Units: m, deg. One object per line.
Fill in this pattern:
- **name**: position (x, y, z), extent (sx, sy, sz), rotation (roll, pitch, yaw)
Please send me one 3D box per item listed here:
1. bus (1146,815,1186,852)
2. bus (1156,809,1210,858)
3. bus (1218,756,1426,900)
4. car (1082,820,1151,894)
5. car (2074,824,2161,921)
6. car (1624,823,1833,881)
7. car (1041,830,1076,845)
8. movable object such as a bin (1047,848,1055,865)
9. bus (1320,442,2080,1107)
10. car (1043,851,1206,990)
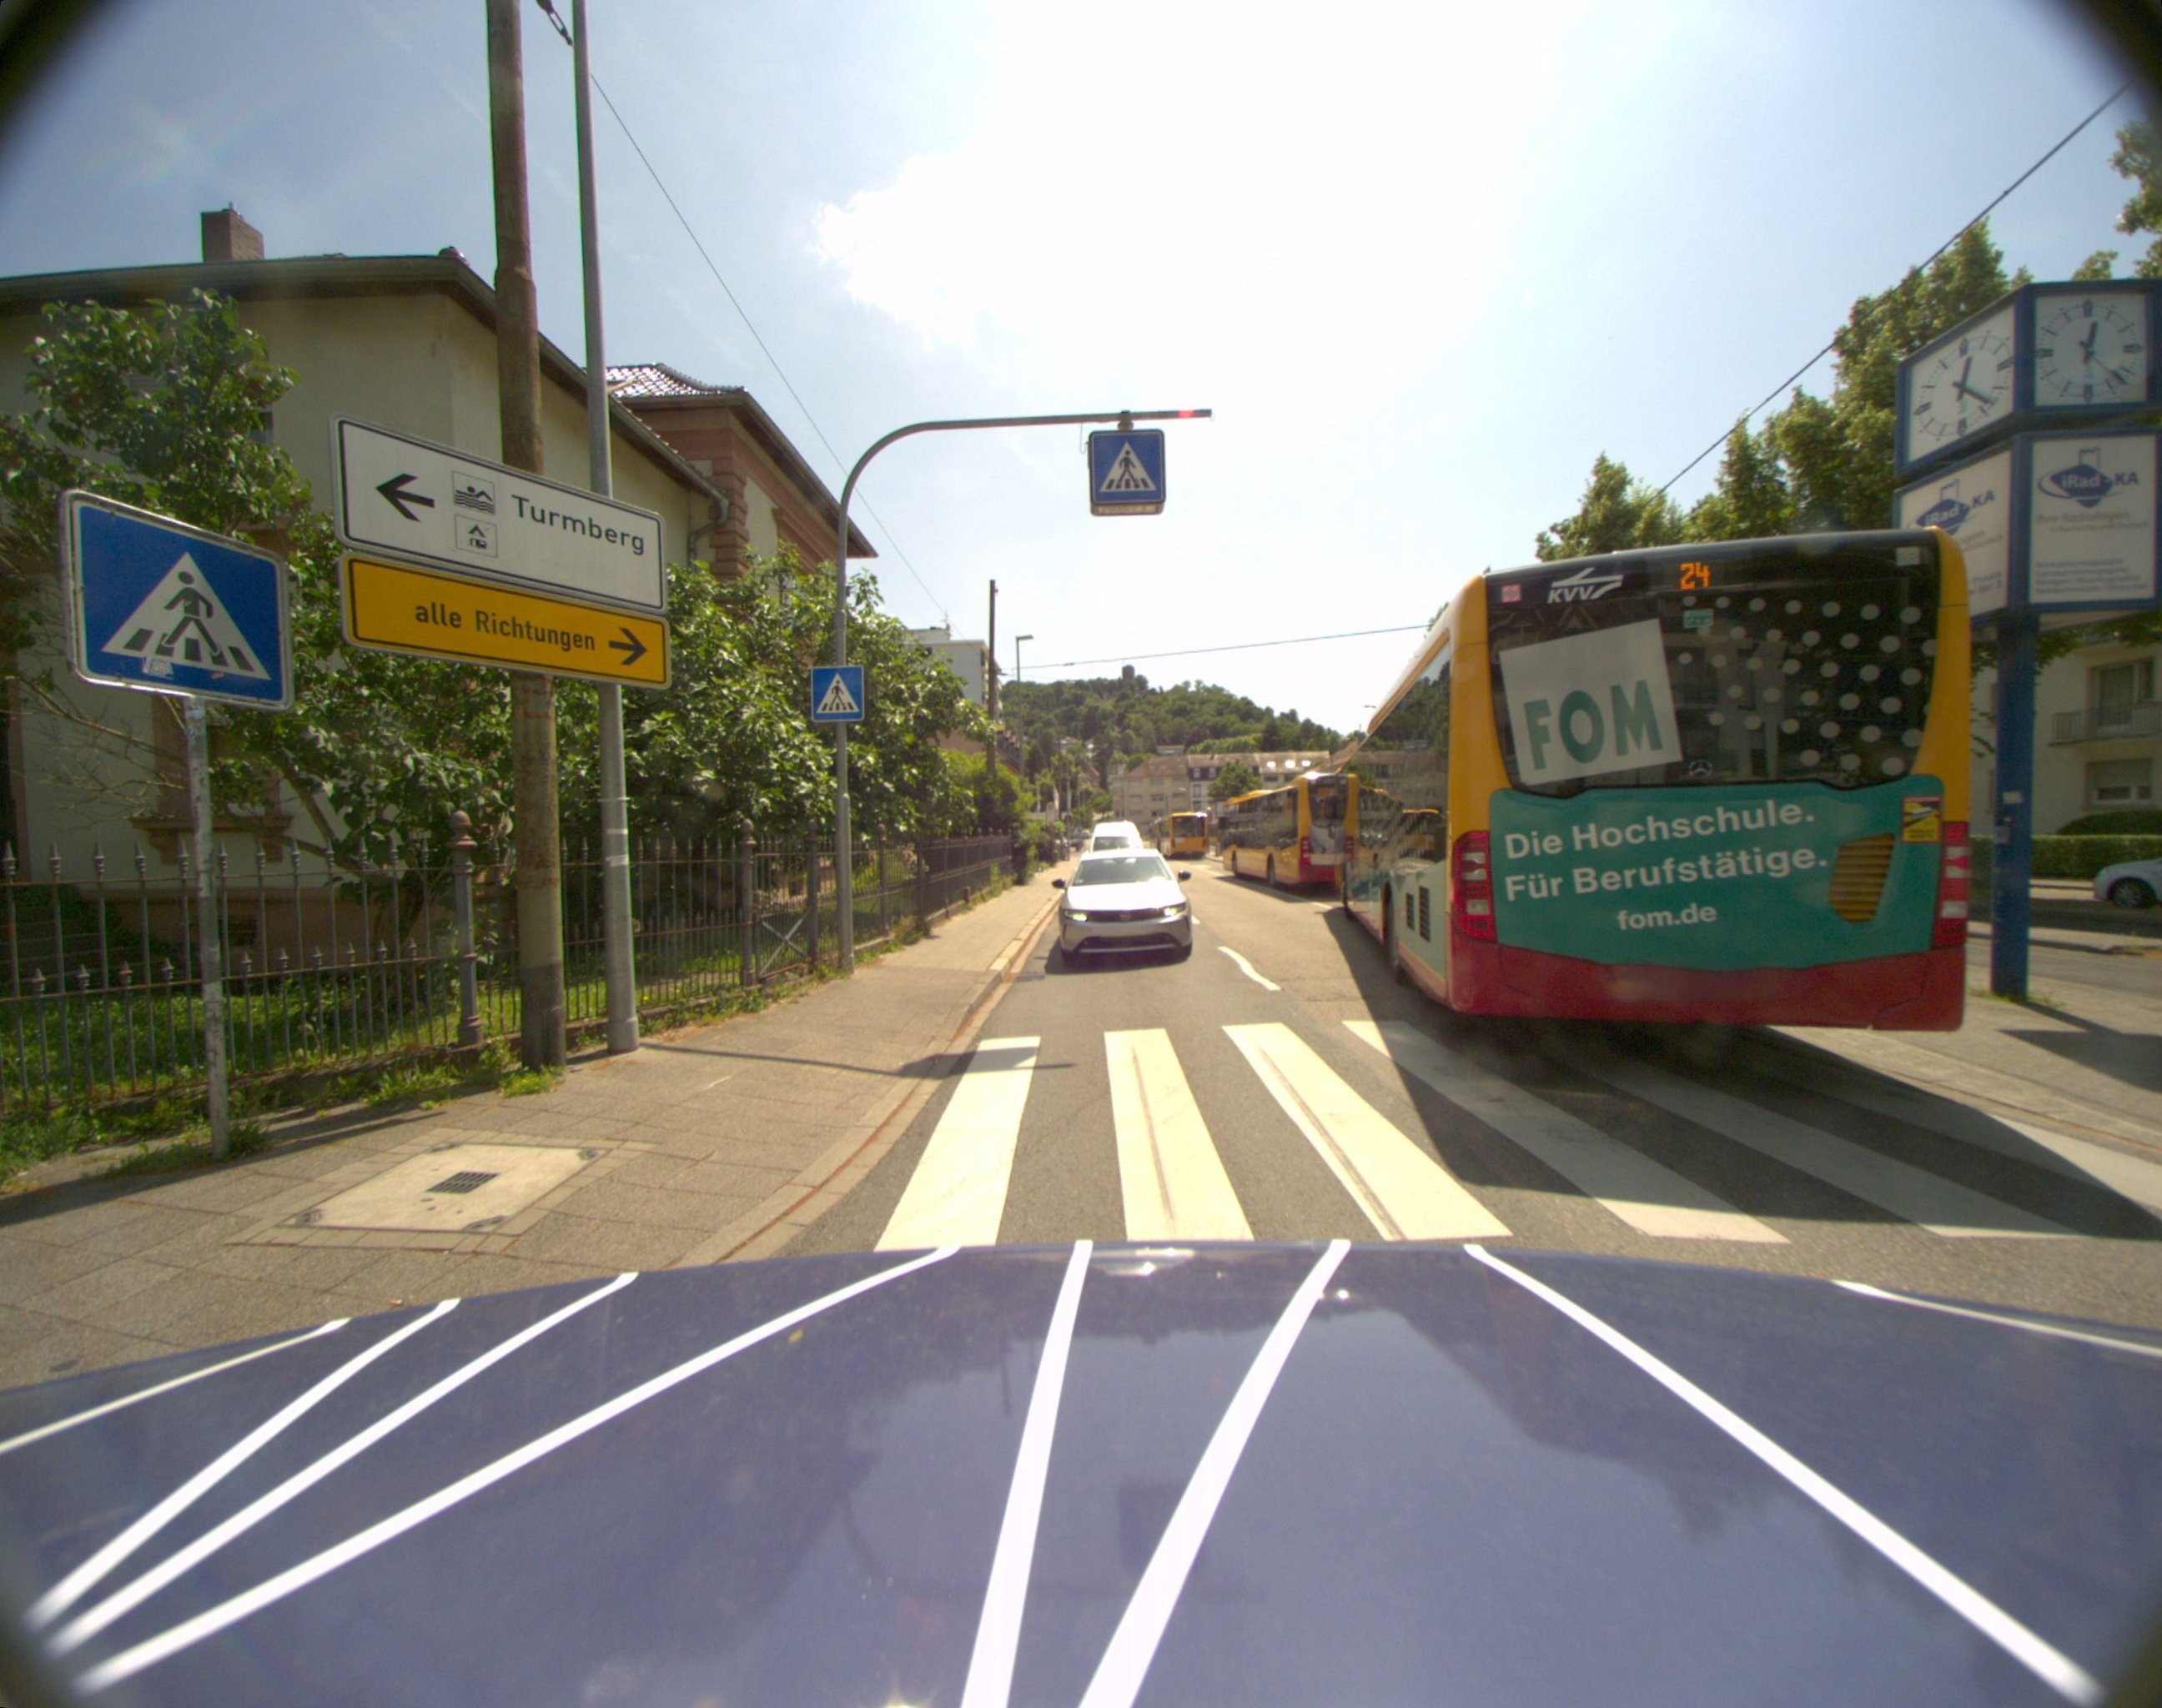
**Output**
- **bus**: position (8.579, -2.067, 78.120), extent (2.915, 3.407, 12.038), rotation (-3, 1, 2)
- **bus**: position (7.687, -1.708, 58.687), extent (2.905, 3.230, 12.192), rotation (-3, 3, 3)
- **bus**: position (6.775, -0.812, 23.954), extent (2.914, 3.230, 12.115), rotation (-3, 2, 2)
- **car**: position (1.148, -0.025, 27.053), extent (1.999, 2.259, 5.441), rotation (-3, 3, -1)
- **car**: position (19.829, 0.370, 12.478), extent (1.755, 1.609, 3.997), rotation (-3, 3, -2)
- **car**: position (20.198, -0.175, 24.200), extent (1.712, 1.450, 6.039), rotation (-3, 3, 2)
- **car**: position (-2.948, -2.112, 98.093), extent (4.277, 1.780, 1.826), rotation (-1, 4, 42)
- **movable object such as a bin**: position (-1.693, 0.154, 42.516), extent (0.407, 0.902, 0.729), rotation (2, 3, -1)
- **bus**: position (4.981, -0.460, 9.954), extent (2.783, 3.190, 12.317), rotation (-3, 1, 15)
- **car**: position (0.642, 0.761, 10.888), extent (1.818, 1.372, 4.391), rotation (-2, 2, 4)
